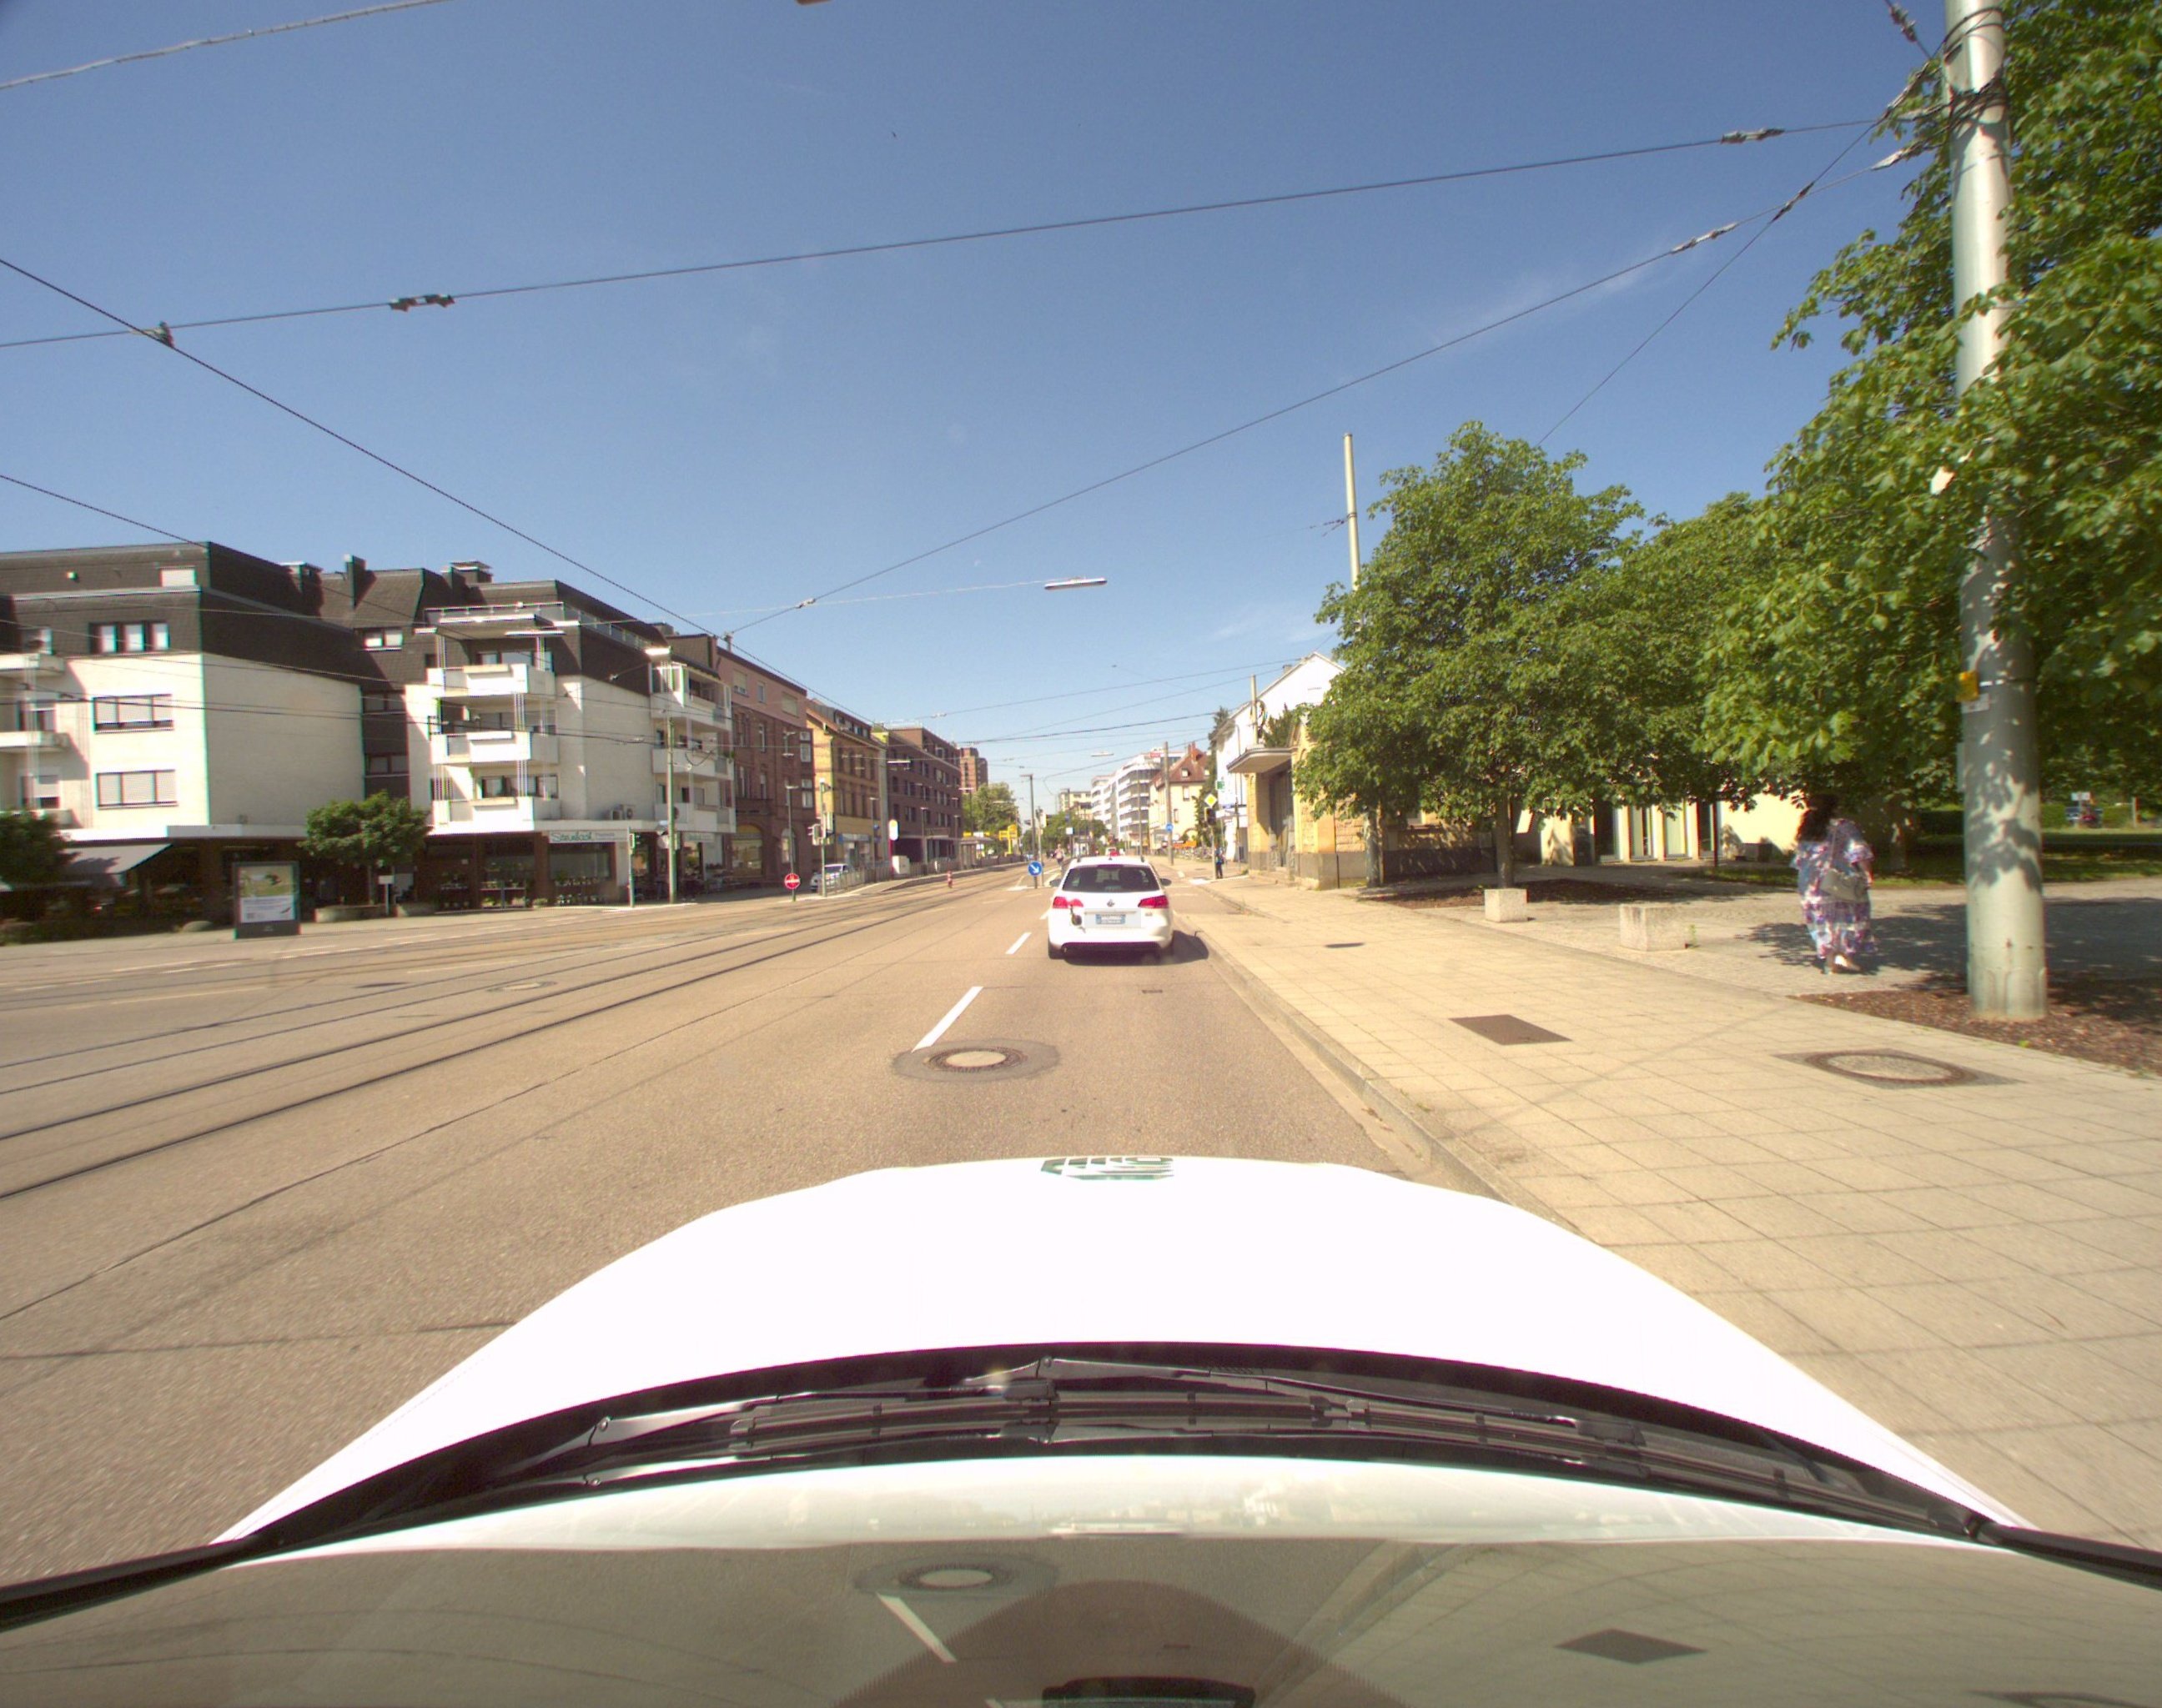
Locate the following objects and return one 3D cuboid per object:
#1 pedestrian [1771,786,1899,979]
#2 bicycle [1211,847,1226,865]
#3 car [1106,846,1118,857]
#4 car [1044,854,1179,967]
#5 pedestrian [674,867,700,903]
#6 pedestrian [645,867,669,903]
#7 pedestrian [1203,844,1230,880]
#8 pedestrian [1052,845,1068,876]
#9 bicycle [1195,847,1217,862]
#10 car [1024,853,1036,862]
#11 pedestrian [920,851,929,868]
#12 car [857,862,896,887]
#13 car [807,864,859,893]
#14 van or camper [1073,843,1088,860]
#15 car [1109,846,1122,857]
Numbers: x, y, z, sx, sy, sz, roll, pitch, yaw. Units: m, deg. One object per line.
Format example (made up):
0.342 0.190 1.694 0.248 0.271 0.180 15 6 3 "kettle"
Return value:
6.989 0.237 7.558 0.710 1.682 0.645 -3 0 -31 "pedestrian"
9.298 0.119 54.884 0.720 1.139 2.203 -3 0 15 "bicycle"
6.137 -0.461 162.281 1.988 2.013 3.997 -3 0 -2 "car"
0.489 0.737 12.491 1.745 1.417 3.856 0 0 3 "car"
-18.844 1.481 38.994 0.877 1.647 0.679 -3 0 -6 "pedestrian"
-20.041 1.446 38.524 0.676 1.647 0.732 -3 0 1 "pedestrian"
5.873 0.349 35.186 0.771 1.510 0.864 -3 0 37 "pedestrian"
-1.287 0.372 49.358 0.823 1.809 0.834 -3 0 3 "pedestrian"
10.105 0.037 65.946 1.704 1.130 0.526 -3 0 3 "bicycle"
-9.729 0.667 155.540 1.661 1.466 3.775 -3 0 2 "car"
-17.532 0.614 91.491 0.722 1.791 0.965 -2 0 2 "pedestrian"
-13.299 1.285 53.192 1.568 1.459 3.812 -3 0 -1 "car"
-13.774 1.342 45.415 1.620 1.431 3.963 -1 0 1 "car"
-0.143 -0.470 166.474 2.936 3.179 6.609 -3 0 -2 "van or camper"
6.608 -0.473 156.842 1.988 2.013 3.997 -3 0 -2 "car"
